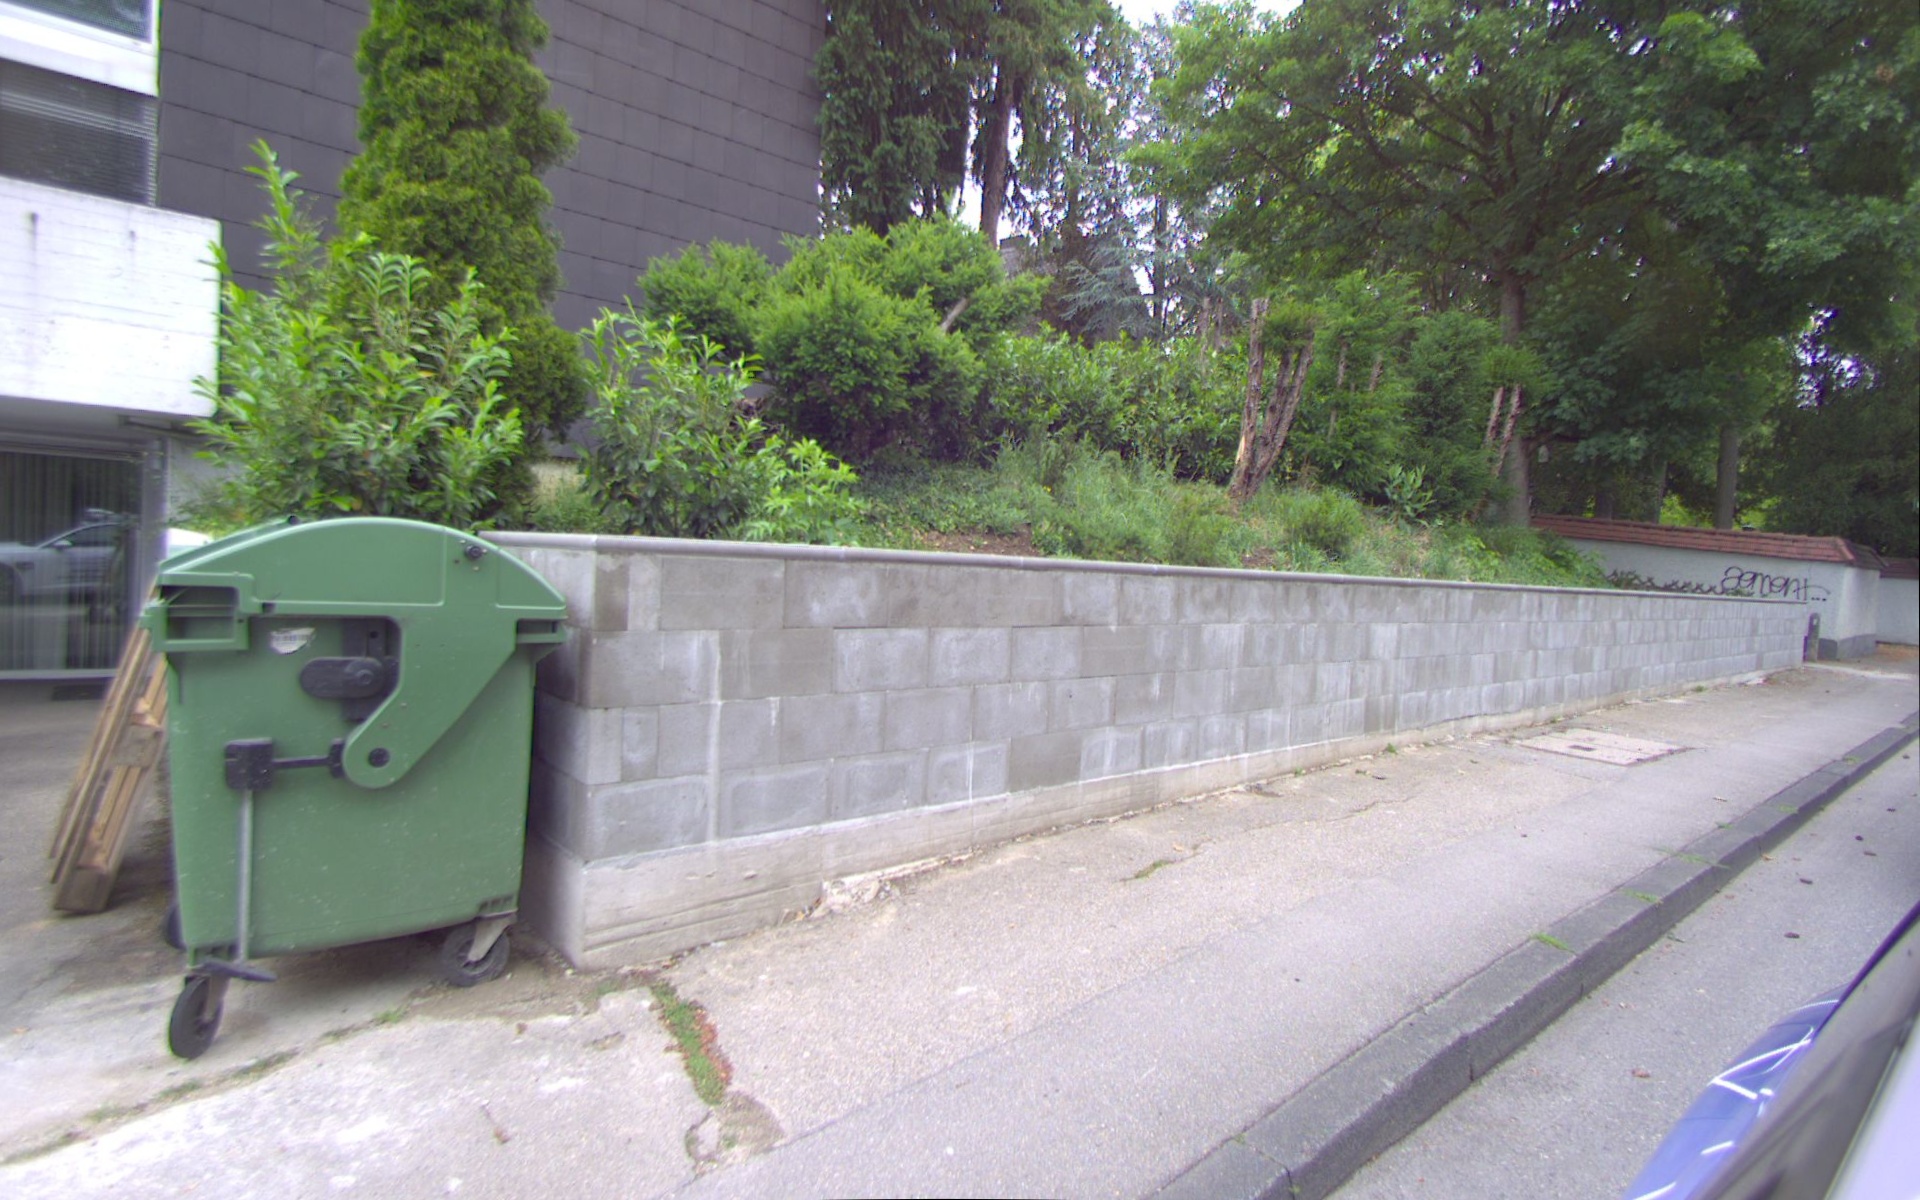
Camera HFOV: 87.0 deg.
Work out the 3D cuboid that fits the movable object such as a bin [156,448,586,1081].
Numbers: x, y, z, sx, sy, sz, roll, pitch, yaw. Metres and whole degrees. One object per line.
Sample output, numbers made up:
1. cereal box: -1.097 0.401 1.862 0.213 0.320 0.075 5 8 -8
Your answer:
1. movable object such as a bin: -1.875 0.380 3.189 1.014 1.549 1.037 0 2 -39
